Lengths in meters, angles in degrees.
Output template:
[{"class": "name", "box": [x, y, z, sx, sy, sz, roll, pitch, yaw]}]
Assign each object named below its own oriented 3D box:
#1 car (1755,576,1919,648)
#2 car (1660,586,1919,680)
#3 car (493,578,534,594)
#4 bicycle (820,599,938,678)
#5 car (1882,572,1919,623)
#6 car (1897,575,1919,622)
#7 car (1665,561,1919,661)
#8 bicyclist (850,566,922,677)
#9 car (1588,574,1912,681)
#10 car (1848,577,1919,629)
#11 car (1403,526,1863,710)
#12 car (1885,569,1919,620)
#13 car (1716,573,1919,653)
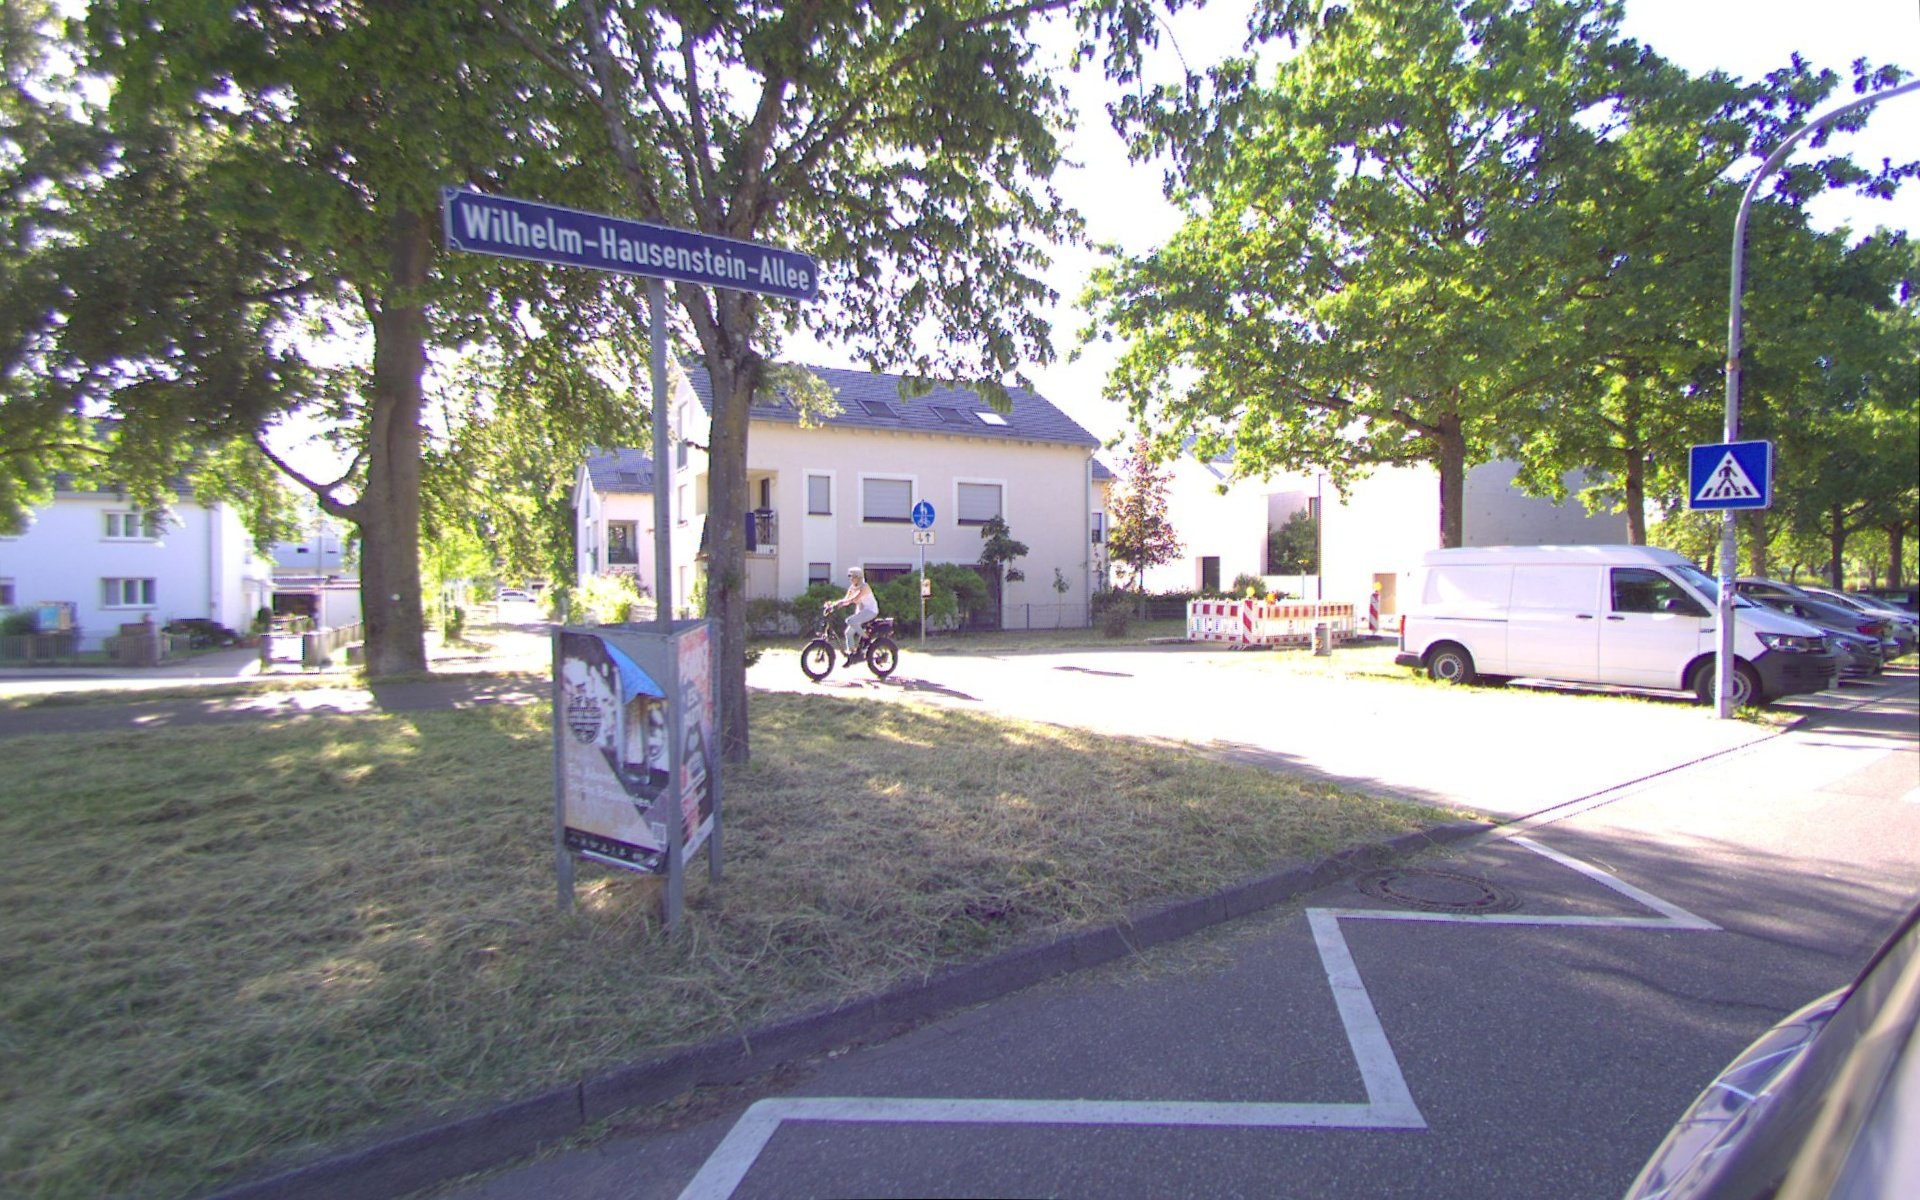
[{"class": "car", "box": [22.594, 0.277, 25.285, 1.504, 1.681, 4.021, -1, 0, -36]}, {"class": "car", "box": [15.162, 0.540, 18.601, 1.421, 1.561, 3.518, -1, 0, -36]}, {"class": "car", "box": [-58.577, -1.881, 132.793, 4.542, 2.039, 1.996, -1, 0, -42]}, {"class": "bicycle", "box": [-1.272, 0.577, 16.067, 1.797, 1.165, 0.677, -1, 0, -39]}, {"class": "car", "box": [34.378, -0.102, 34.329, 1.504, 1.765, 4.397, -1, 0, -36]}, {"class": "car", "box": [37.348, -0.080, 36.959, 1.504, 1.765, 4.397, -1, 0, -36]}, {"class": "car", "box": [16.898, 0.194, 20.452, 1.681, 1.816, 4.021, -1, 0, -36]}, {"class": "bicyclist", "box": [-1.170, 0.325, 16.059, 0.834, 1.687, 0.726, -1, 0, -39]}, {"class": "car", "box": [13.201, 0.402, 17.136, 1.725, 1.583, 3.999, -1, 0, -36]}, {"class": "car", "box": [31.753, 0.081, 32.702, 1.504, 1.662, 4.397, -1, 0, -36]}, {"class": "car", "box": [9.099, 0.147, 14.172, 1.856, 2.107, 5.046, -1, 1, -38]}, {"class": "car", "box": [39.434, -0.238, 39.704, 1.504, 2.013, 4.397, -1, 0, -36]}, {"class": "car", "box": [20.241, 0.274, 23.503, 1.504, 1.700, 4.021, -1, 0, -36]}]
